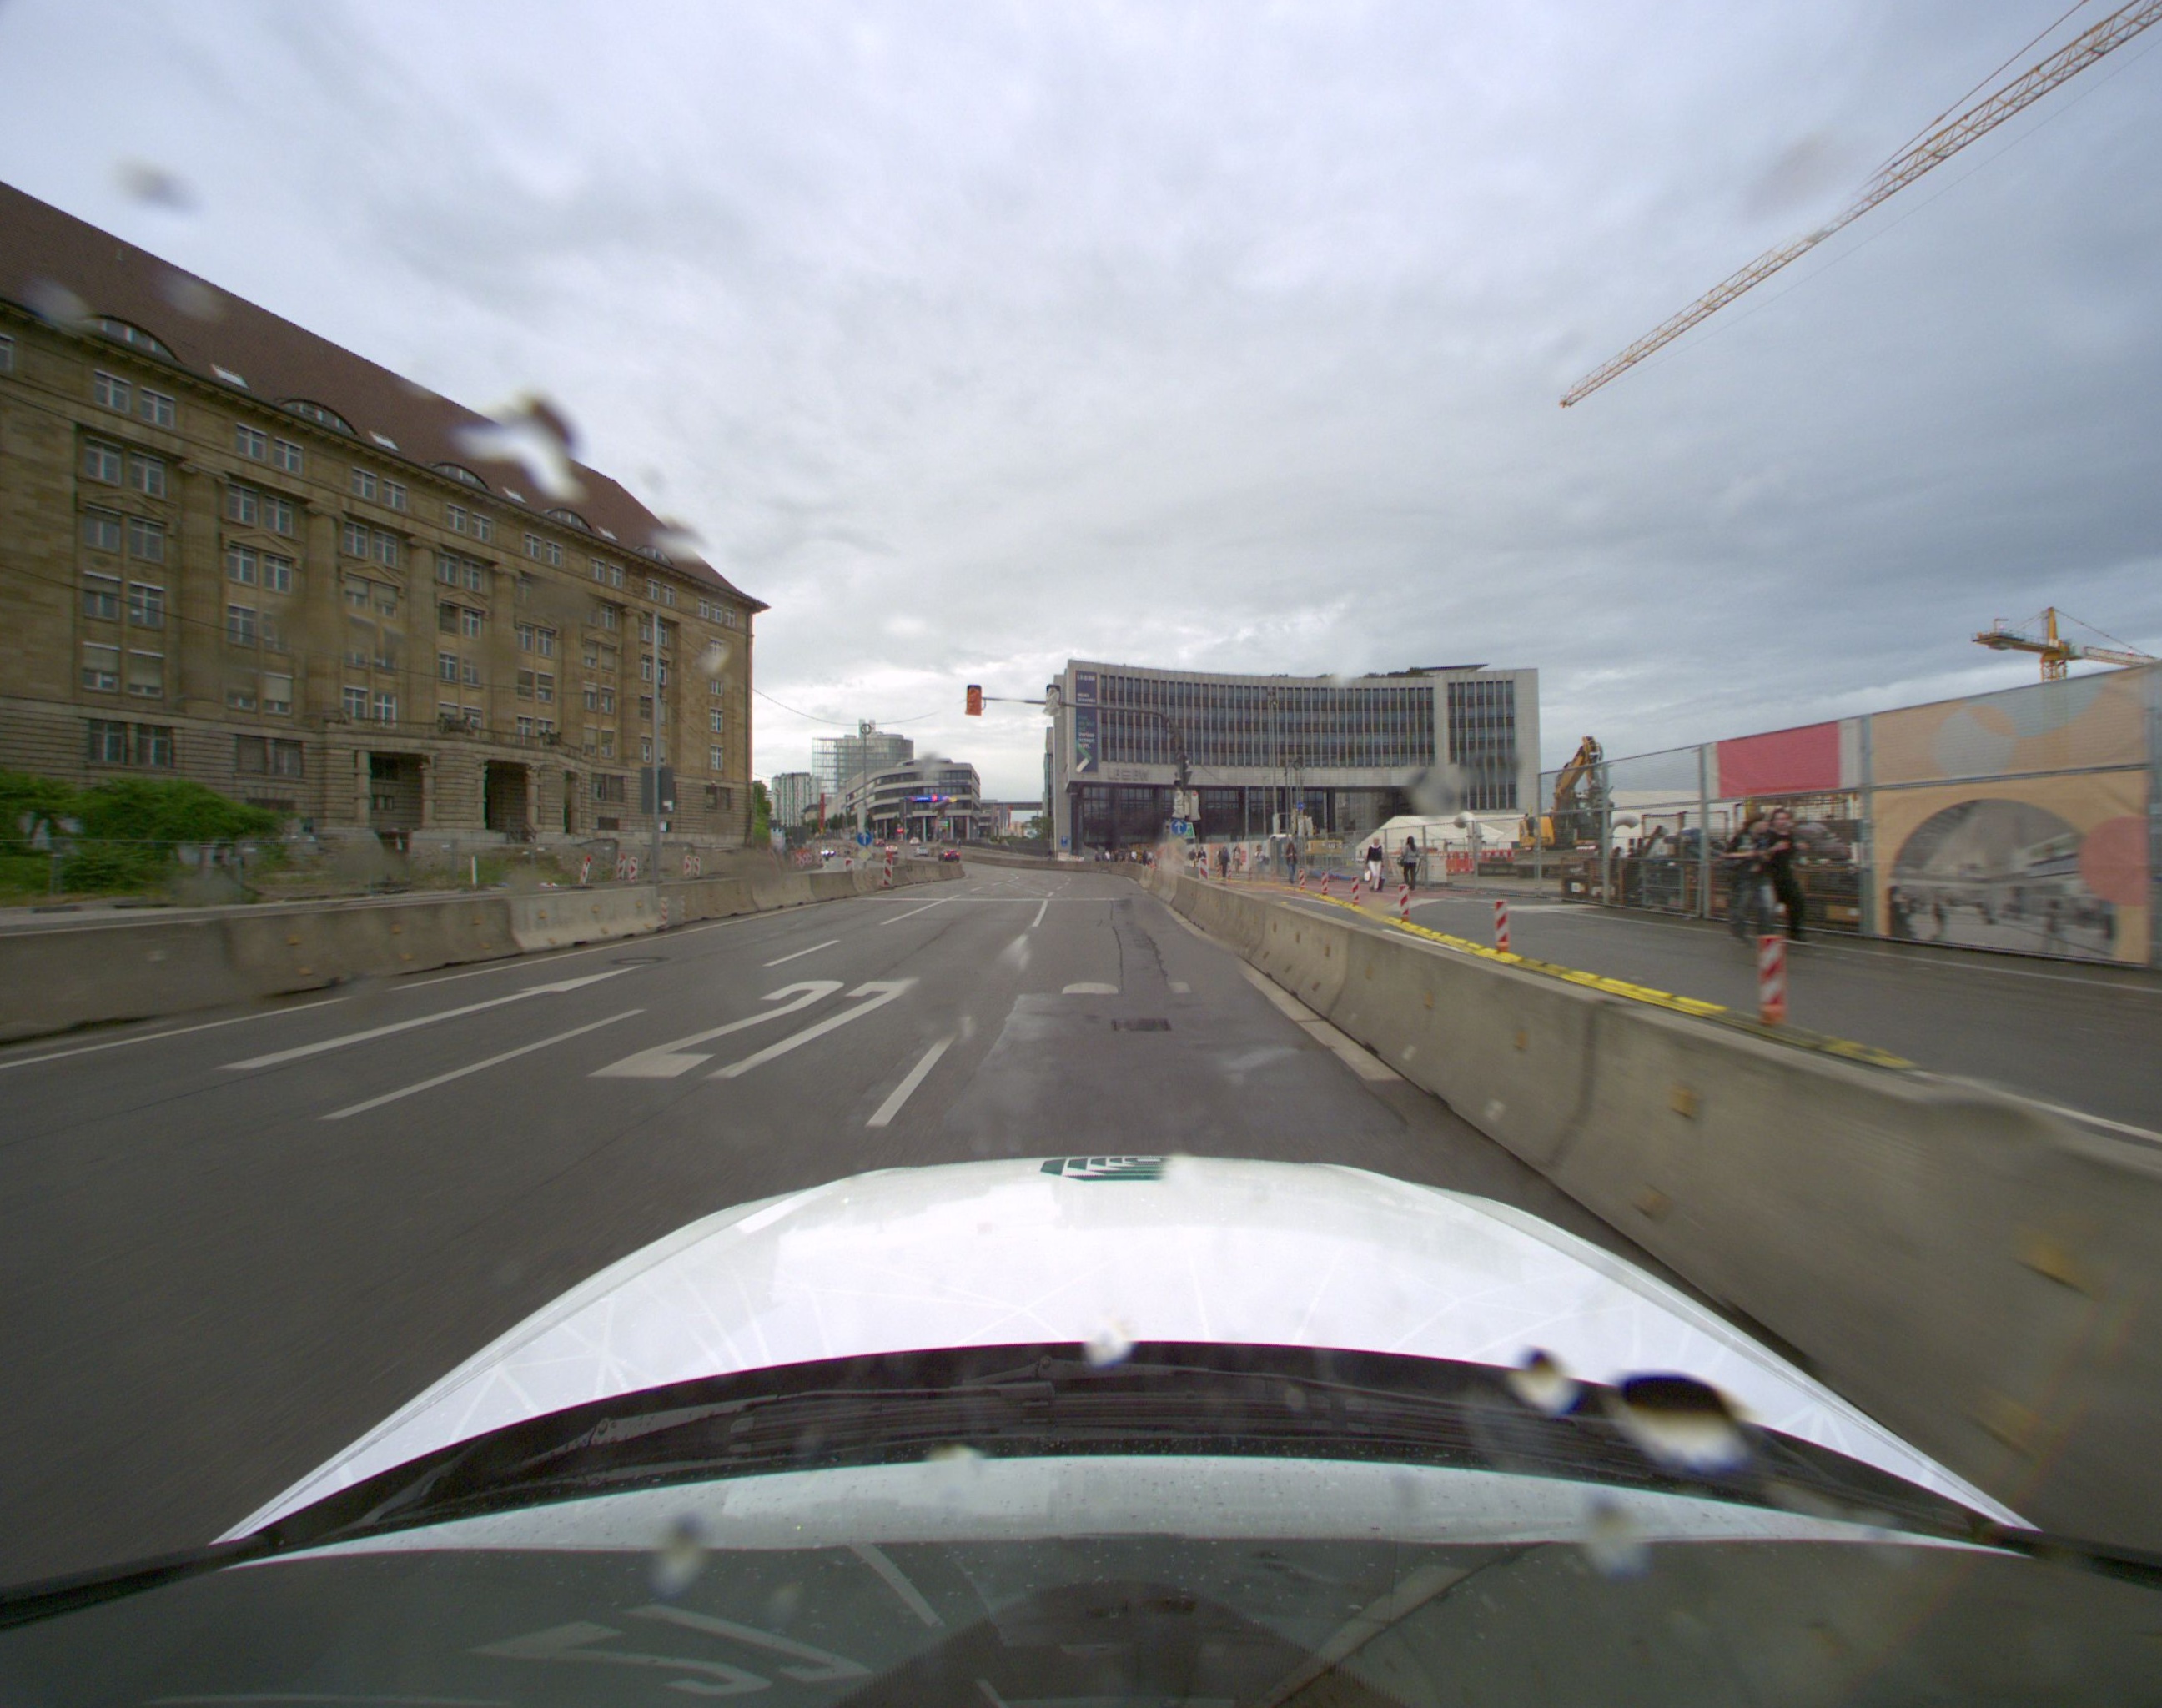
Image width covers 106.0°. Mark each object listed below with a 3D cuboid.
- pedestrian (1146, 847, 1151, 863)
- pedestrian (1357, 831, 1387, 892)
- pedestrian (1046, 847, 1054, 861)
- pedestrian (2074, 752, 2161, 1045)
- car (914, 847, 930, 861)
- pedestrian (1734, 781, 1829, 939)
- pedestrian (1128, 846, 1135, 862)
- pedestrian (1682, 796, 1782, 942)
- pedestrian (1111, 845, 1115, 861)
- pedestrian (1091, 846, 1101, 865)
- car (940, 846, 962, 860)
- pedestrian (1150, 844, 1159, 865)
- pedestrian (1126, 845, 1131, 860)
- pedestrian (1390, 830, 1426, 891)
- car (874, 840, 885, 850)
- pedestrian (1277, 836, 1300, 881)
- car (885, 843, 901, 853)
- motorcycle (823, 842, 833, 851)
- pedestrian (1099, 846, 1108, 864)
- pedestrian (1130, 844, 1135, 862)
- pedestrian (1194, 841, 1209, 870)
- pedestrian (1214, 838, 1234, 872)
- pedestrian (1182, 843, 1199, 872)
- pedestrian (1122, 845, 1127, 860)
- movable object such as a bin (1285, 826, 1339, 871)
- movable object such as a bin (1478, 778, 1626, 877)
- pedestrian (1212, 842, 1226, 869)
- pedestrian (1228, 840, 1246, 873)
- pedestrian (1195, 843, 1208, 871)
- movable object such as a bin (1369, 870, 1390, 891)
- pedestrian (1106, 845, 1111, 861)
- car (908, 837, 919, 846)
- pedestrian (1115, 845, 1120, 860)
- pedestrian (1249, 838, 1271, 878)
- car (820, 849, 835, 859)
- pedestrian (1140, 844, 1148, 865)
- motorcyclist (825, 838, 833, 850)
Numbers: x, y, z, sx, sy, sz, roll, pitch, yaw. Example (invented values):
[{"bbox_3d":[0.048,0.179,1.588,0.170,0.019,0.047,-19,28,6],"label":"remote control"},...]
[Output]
[{"bbox_3d":[7.187,0.131,86.433,0.447,1.704,0.646,0,0,-1],"label":"pedestrian"},{"bbox_3d":[8.997,0.240,25.225,0.663,1.862,0.682,0,0,-4],"label":"pedestrian"},{"bbox_3d":[-3.782,0.005,99.657,0.759,1.790,1.050,0,0,-21],"label":"pedestrian"},{"bbox_3d":[7.334,0.285,5.271,0.793,1.877,0.820,0,0,2],"label":"pedestrian"},{"bbox_3d":[-22.677,-0.016,115.887,1.744,1.875,3.753,-1,0,-19],"label":"car"},{"bbox_3d":[9.244,0.075,10.769,0.676,2.013,0.687,-1,1,1],"label":"pedestrian"},{"bbox_3d":[5.453,-0.031,87.894,0.515,1.704,0.568,0,0,-37],"label":"pedestrian"},{"bbox_3d":[8.478,0.190,10.628,0.793,1.834,0.626,0,0,2],"label":"pedestrian"},{"bbox_3d":[3.568,-0.118,90.762,0.452,1.704,0.646,0,0,-5],"label":"pedestrian"},{"bbox_3d":[1.374,0.137,74.496,0.751,1.642,0.820,0,0,-12],"label":"pedestrian"},{"bbox_3d":[-15.167,-0.069,94.894,1.682,1.508,3.715,0,-3,-24],"label":"car"},{"bbox_3d":[6.988,0.057,77.280,0.780,2.013,0.864,0,0,6],"label":"pedestrian"},{"bbox_3d":[5.199,-0.146,89.340,0.445,1.704,0.648,0,0,8],"label":"pedestrian"},{"bbox_3d":[10.037,0.190,25.012,0.785,1.862,0.682,0,0,-4],"label":"pedestrian"},{"bbox_3d":[-39.228,-1.785,158.716,1.996,1.804,4.245,0,1,-14],"label":"car"},{"bbox_3d":[8.689,0.175,34.117,0.688,1.862,0.810,0,0,-4],"label":"pedestrian"},{"bbox_3d":[-29.953,-0.930,129.923,1.750,1.506,3.722,0,0,-25],"label":"car"},{"bbox_3d":[-29.906,-0.879,96.247,0.873,1.148,2.136,0,0,-25],"label":"motorcycle"},{"bbox_3d":[2.071,0.122,74.653,0.659,1.642,0.820,0,0,-12],"label":"pedestrian"},{"bbox_3d":[5.491,-0.104,86.515,0.527,1.818,0.536,0,0,-1],"label":"pedestrian"},{"bbox_3d":[7.777,0.092,52.656,0.777,1.862,0.810,0,0,-4],"label":"pedestrian"},{"bbox_3d":[7.812,0.047,44.531,0.868,1.862,0.947,0,0,-4],"label":"pedestrian"},{"bbox_3d":[6.964,0.236,51.738,0.817,1.827,1.110,-1,0,-3],"label":"pedestrian"},{"bbox_3d":[4.762,-0.155,89.686,0.447,1.704,0.646,0,0,-4],"label":"pedestrian"},{"bbox_3d":[20.939,-0.485,73.939,3.100,4.030,3.668,0,0,-23],"label":"movable object such as a bin"},{"bbox_3d":[18.283,-0.962,32.038,3.901,3.492,4.372,-1,0,13],"label":"movable object such as a bin"},{"bbox_3d":[9.674,0.109,57.009,0.777,1.862,0.810,-2,0,-4],"label":"pedestrian"},{"bbox_3d":[8.718,0.131,45.525,0.777,1.862,1.057,0,0,-4],"label":"pedestrian"},{"bbox_3d":[8.111,0.225,54.787,0.731,1.854,0.831,0,-1,-2],"label":"pedestrian"},{"bbox_3d":[9.404,0.840,25.670,0.432,0.624,0.534,0,0,-4],"label":"movable object such as a bin"},{"bbox_3d":[3.097,-0.098,90.673,0.447,1.704,0.646,0,0,-5],"label":"pedestrian"},{"bbox_3d":[-33.557,-2.515,162.905,1.996,1.804,4.245,0,1,-14],"label":"car"},{"bbox_3d":[4.084,-0.157,90.839,0.447,1.704,0.646,0,0,-5],"label":"pedestrian"},{"bbox_3d":[8.291,0.179,37.772,0.777,1.862,0.948,0,0,-4],"label":"pedestrian"},{"bbox_3d":[-36.568,0.009,117.369,1.610,1.352,3.722,1,-3,-25],"label":"car"},{"bbox_3d":[5.995,0.027,77.419,0.780,2.013,0.864,0,0,6],"label":"pedestrian"},{"bbox_3d":[-29.805,-1.184,96.227,0.802,1.451,0.818,0,0,-26],"label":"motorcyclist"}]
